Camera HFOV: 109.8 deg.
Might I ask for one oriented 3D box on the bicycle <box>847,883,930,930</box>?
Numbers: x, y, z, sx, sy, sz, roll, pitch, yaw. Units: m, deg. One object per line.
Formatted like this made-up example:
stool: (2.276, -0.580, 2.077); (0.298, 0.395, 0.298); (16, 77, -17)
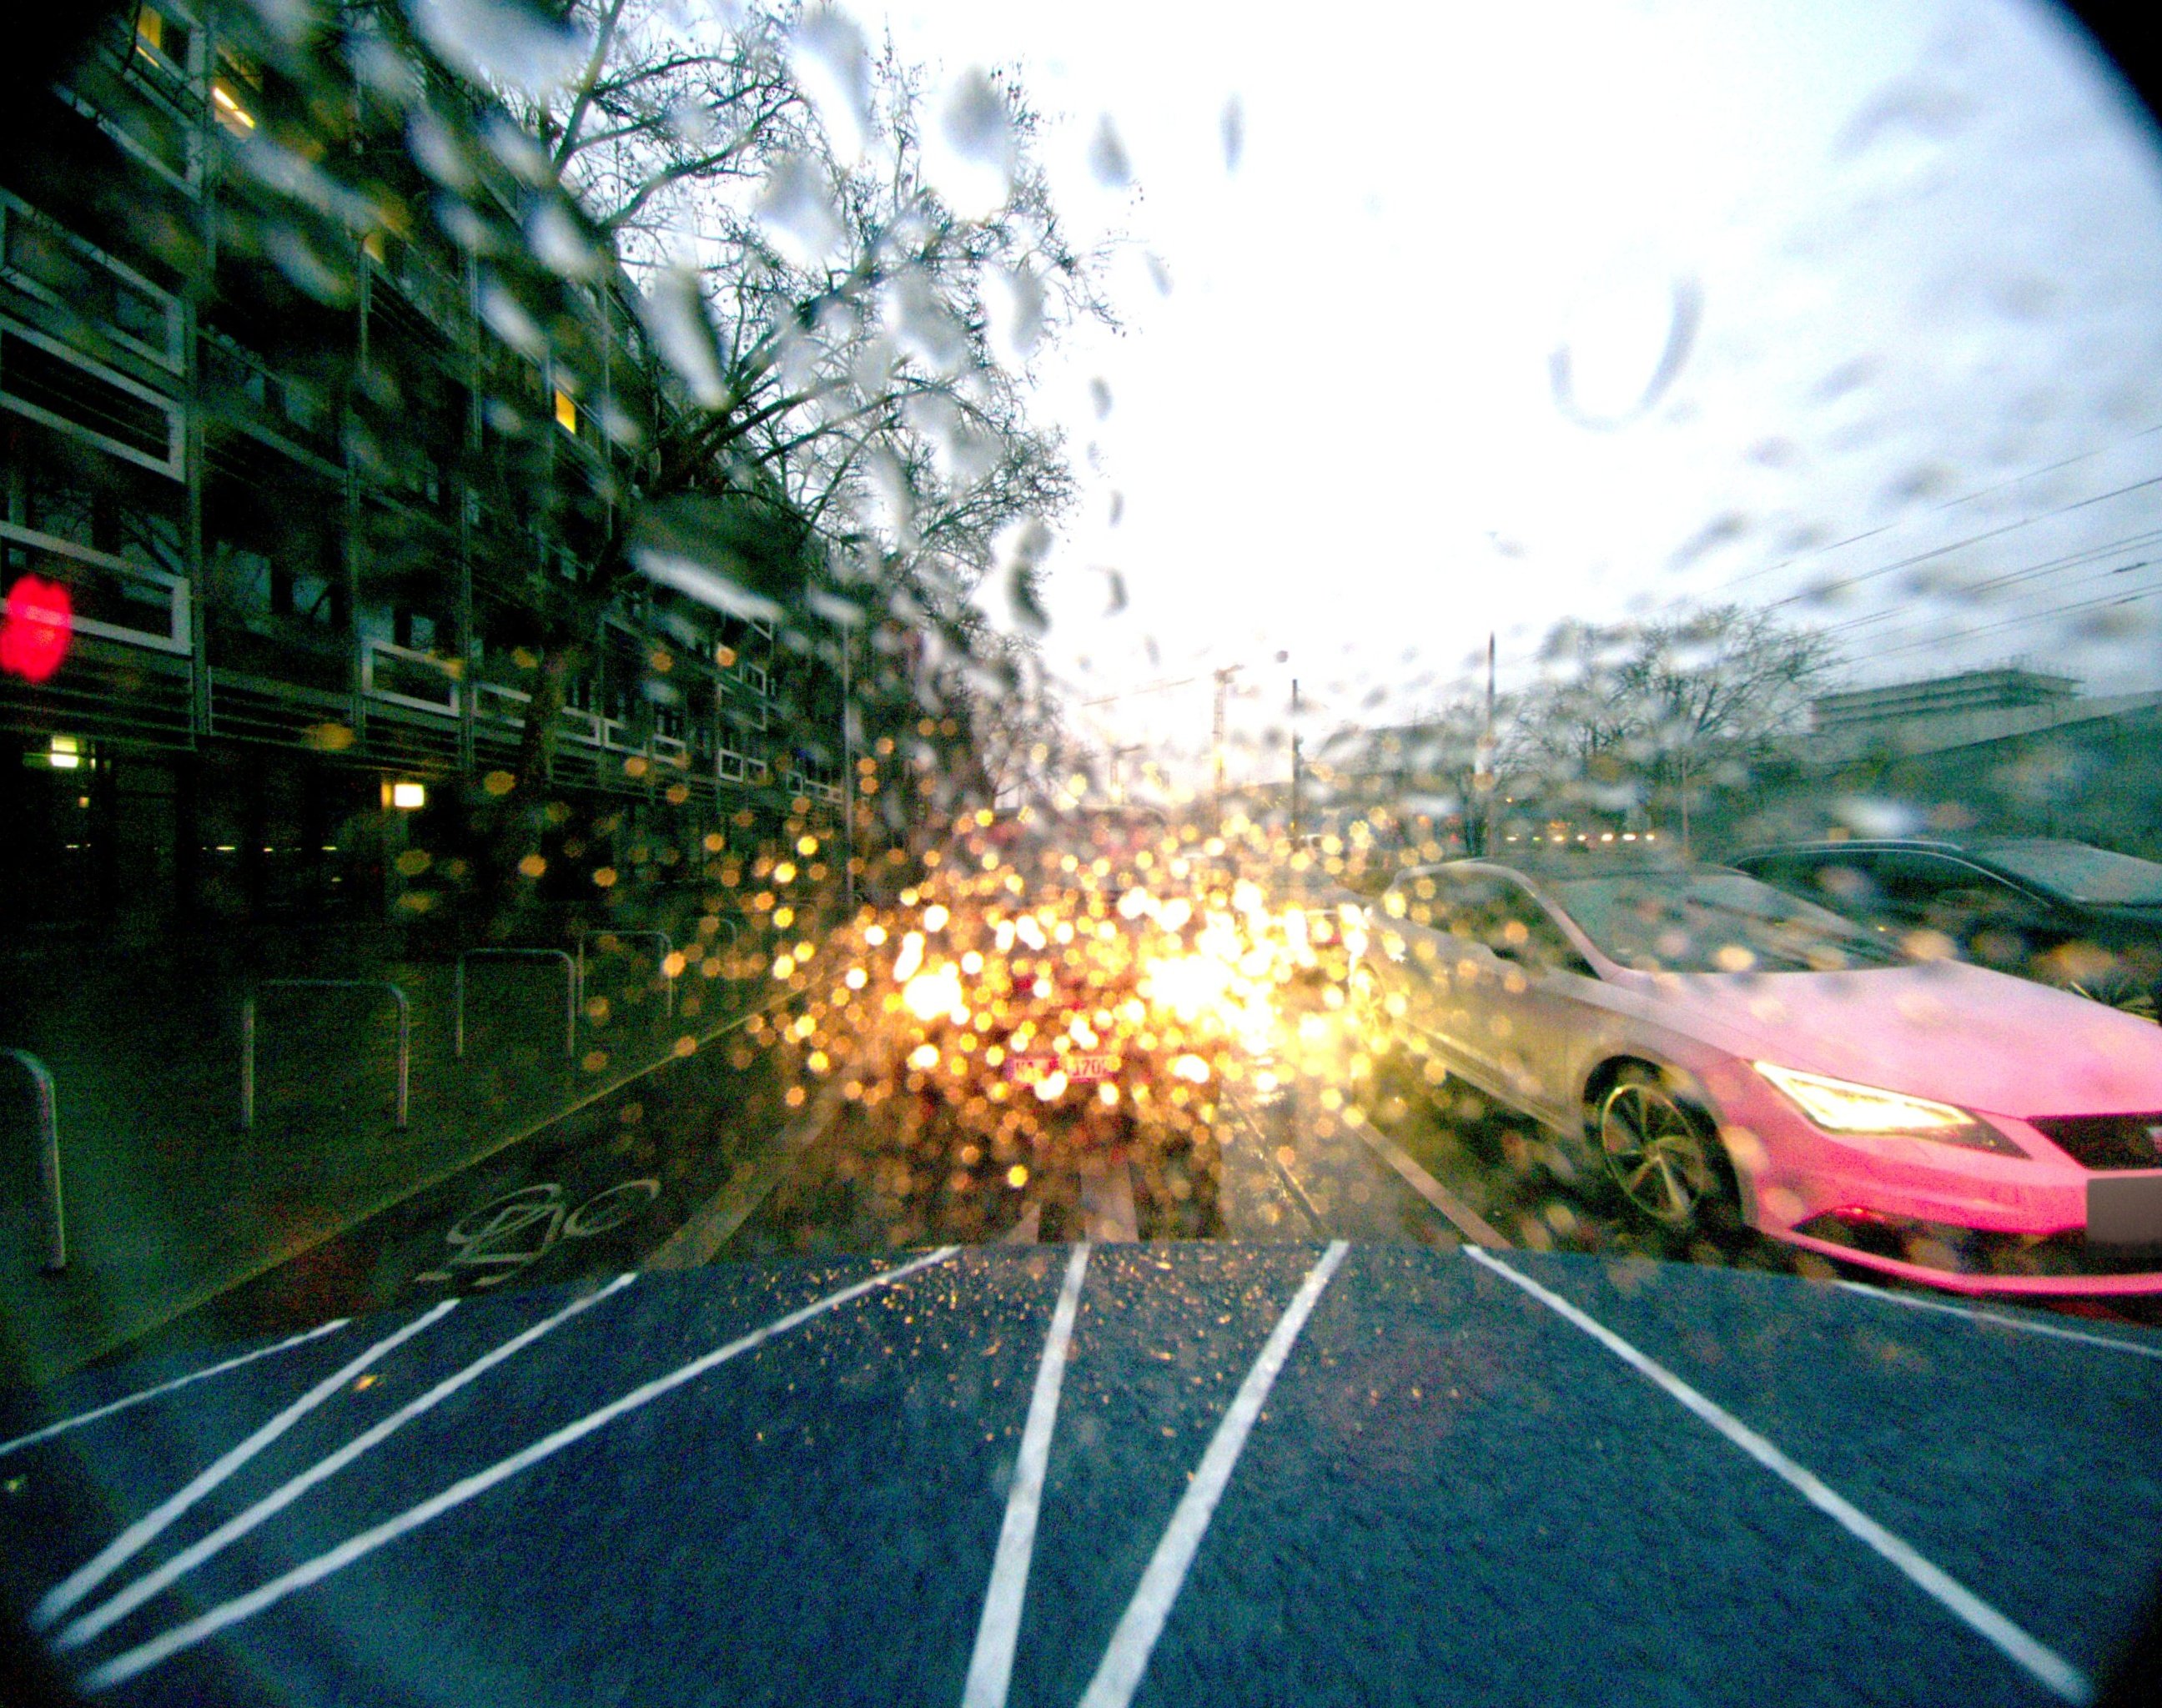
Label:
bicycle: (-4.449, 1.209, 17.644); (1.704, 0.987, 0.879); (1, 1, 0)

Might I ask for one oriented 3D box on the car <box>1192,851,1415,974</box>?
car: (3.047, 0.702, 11.516); (1.999, 1.478, 4.505); (-1, 0, -1)

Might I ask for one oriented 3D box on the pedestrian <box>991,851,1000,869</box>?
pedestrian: (-8.358, 0.593, 74.250); (0.766, 1.740, 0.928); (0, 1, -4)

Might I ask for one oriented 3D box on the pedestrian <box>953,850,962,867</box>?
pedestrian: (-12.345, 0.464, 76.174); (0.766, 1.740, 0.928); (0, 1, -4)

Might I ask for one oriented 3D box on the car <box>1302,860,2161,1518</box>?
car: (2.986, 0.841, 4.166); (1.949, 1.478, 4.504); (-2, 0, -4)

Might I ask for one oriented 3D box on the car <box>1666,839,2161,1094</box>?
car: (7.359, 0.653, 5.982); (1.853, 1.499, 4.662); (-1, 1, -1)

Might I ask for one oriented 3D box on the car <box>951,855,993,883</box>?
car: (-6.174, 0.812, 43.340); (1.713, 1.455, 3.999); (-2, 1, 1)

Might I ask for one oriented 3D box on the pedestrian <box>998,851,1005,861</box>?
pedestrian: (-10.358, 0.243, 98.904); (0.782, 1.330, 0.751); (-2, 1, 1)

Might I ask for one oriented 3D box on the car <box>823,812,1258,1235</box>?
car: (-0.182, 0.740, 5.406); (1.878, 1.830, 3.999); (-2, 1, 0)

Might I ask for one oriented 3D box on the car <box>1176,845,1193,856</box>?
car: (18.125, -0.624, 133.261); (2.095, 1.884, 3.997); (-1, 1, -7)

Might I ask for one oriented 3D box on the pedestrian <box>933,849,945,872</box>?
pedestrian: (-10.686, 0.484, 57.348); (0.766, 1.740, 0.928); (0, 1, -4)

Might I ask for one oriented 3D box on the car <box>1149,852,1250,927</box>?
car: (2.853, 0.798, 19.103); (1.907, 1.565, 3.999); (-2, 1, 1)

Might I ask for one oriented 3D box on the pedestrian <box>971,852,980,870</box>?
pedestrian: (-10.033, 0.680, 72.265); (0.766, 1.740, 0.928); (0, 1, -4)
